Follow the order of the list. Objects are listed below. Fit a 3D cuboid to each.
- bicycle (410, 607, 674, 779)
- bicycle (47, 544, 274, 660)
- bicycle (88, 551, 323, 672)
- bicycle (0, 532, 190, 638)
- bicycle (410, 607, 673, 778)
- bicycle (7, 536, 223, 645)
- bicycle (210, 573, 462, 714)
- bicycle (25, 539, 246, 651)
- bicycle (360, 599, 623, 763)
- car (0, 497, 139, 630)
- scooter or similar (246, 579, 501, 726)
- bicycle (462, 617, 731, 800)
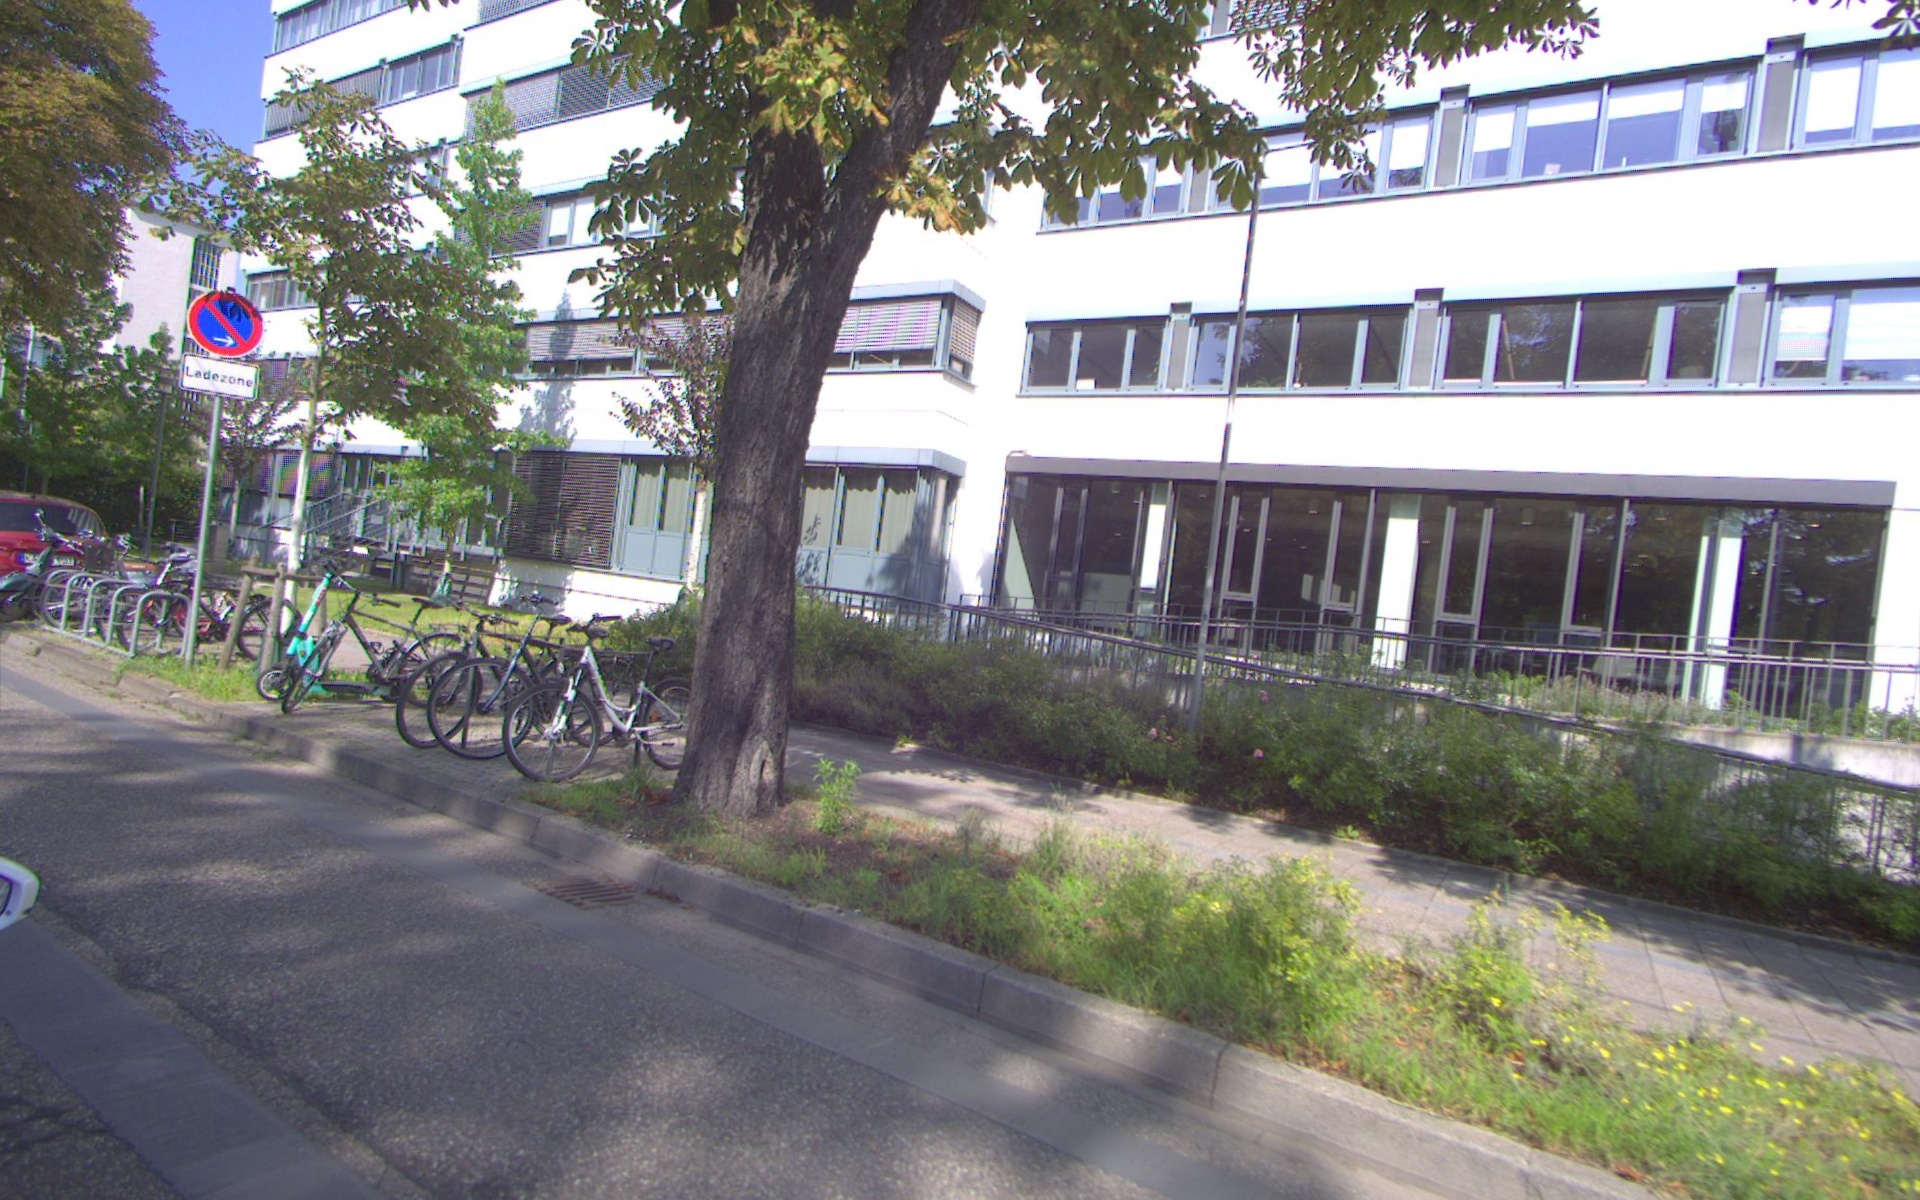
[{"bbox_3d":[-3.043,0.672,7.522,0.531,1.085,1.773,7,0,31],"label":"bicycle"},{"bbox_3d":[-8.508,0.056,10.792,0.531,1.085,1.773,7,0,31],"label":"bicycle"},{"bbox_3d":[-7.594,0.158,10.218,0.531,1.085,1.773,7,0,31],"label":"bicycle"},{"bbox_3d":[-10.374,-0.153,11.982,0.531,1.085,1.773,7,0,31],"label":"bicycle"},{"bbox_3d":[-3.056,0.671,7.543,0.531,1.085,1.773,7,0,31],"label":"bicycle"},{"bbox_3d":[-9.700,-0.075,11.631,0.531,1.085,1.773,7,0,31],"label":"bicycle"},{"bbox_3d":[-5.440,0.400,8.895,0.531,1.085,1.773,7,0,31],"label":"bicycle"},{"bbox_3d":[-9.155,-0.015,11.257,0.531,1.085,1.773,7,0,31],"label":"bicycle"},{"bbox_3d":[-3.558,0.614,7.807,0.531,1.085,1.773,7,0,31],"label":"bicycle"},{"bbox_3d":[-12.733,-0.616,13.141,4.204,1.480,1.758,7,0,32],"label":"car"},{"bbox_3d":[-4.942,0.457,8.607,0.531,1.085,1.773,7,0,31],"label":"scooter or similar"},{"bbox_3d":[-2.490,0.733,7.119,0.531,1.085,1.773,7,0,31],"label":"bicycle"}]
